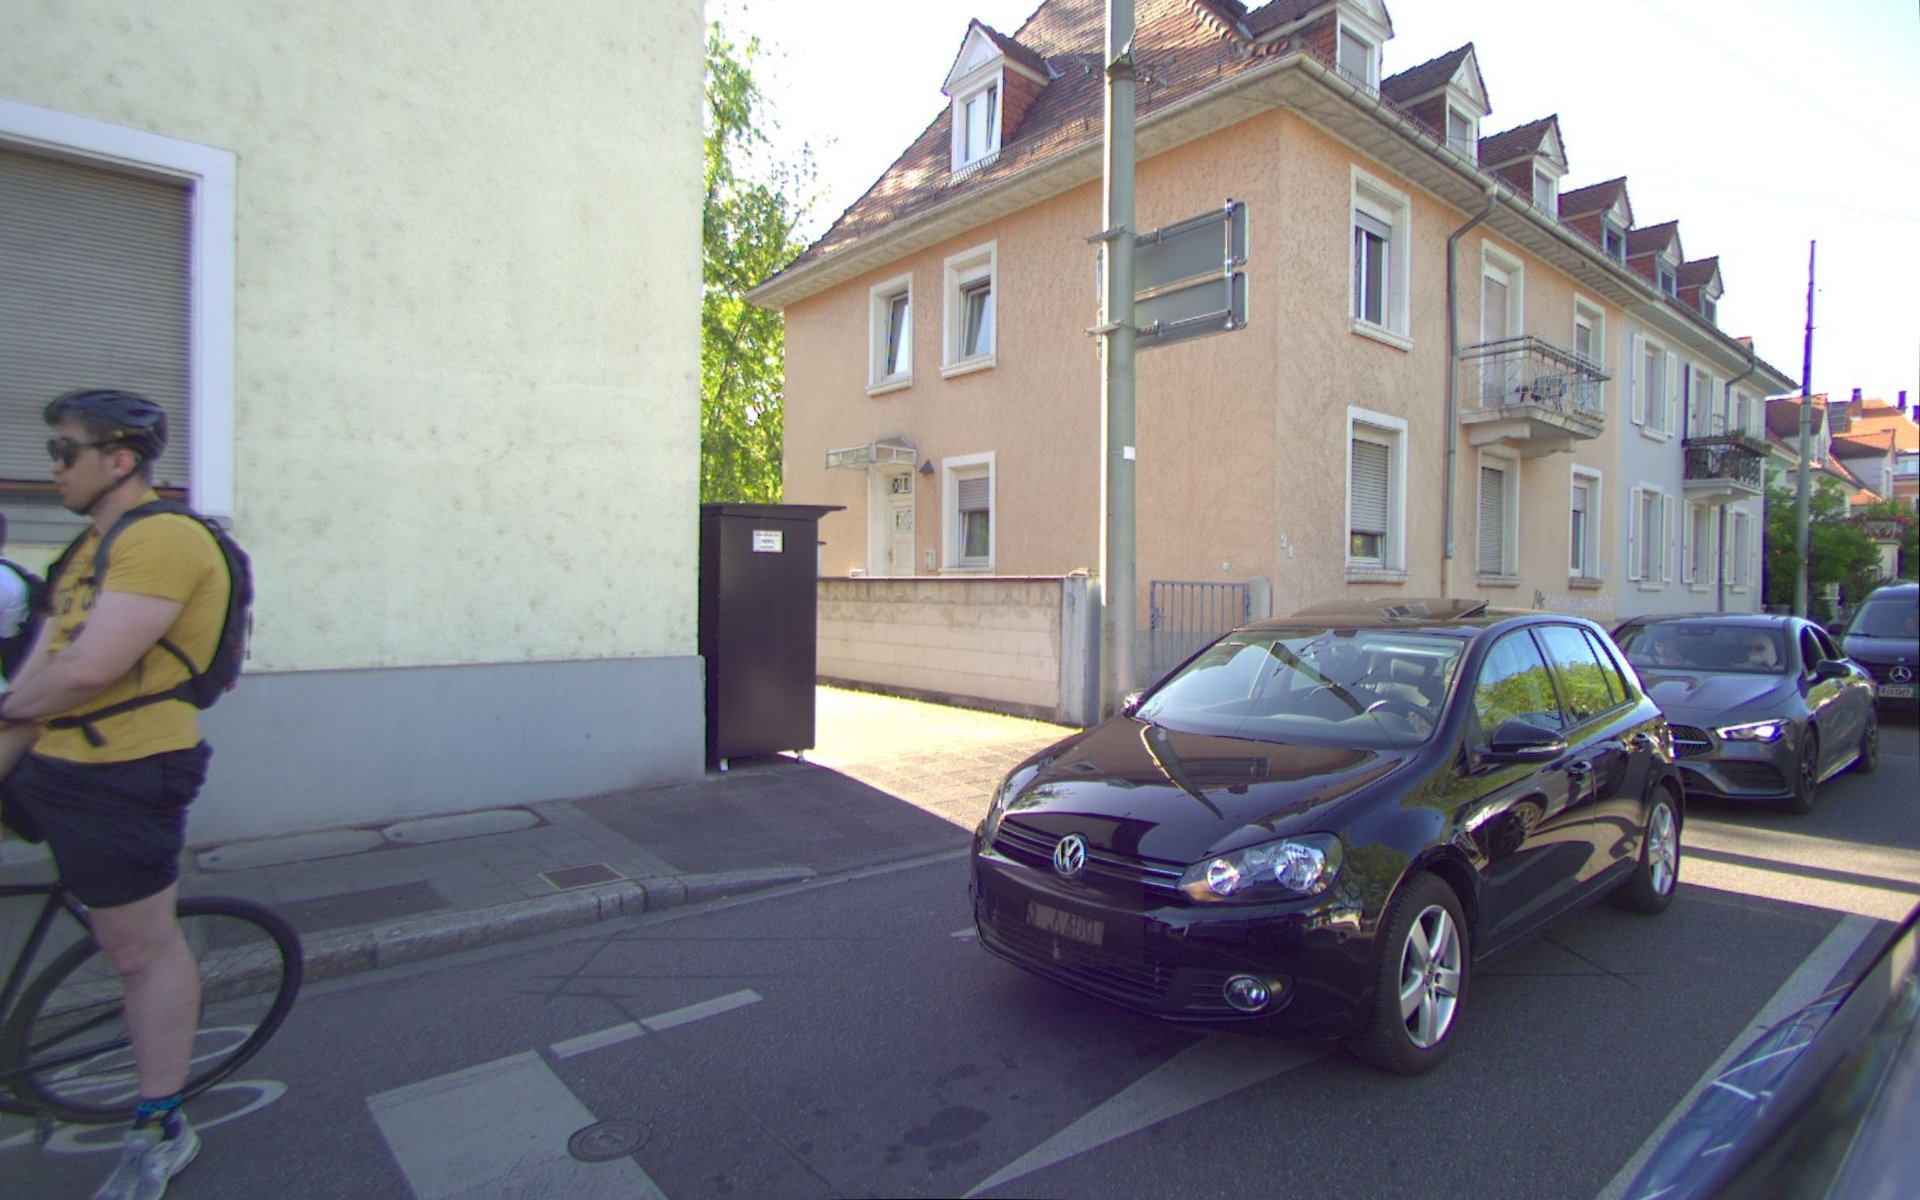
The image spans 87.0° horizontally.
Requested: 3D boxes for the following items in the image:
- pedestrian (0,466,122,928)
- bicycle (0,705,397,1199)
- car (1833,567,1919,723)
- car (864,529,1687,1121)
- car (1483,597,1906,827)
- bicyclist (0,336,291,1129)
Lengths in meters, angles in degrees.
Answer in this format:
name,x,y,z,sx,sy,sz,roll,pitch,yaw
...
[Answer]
name,x,y,z,sx,sy,sz,roll,pitch,yaw
pedestrian,-3.921,0.353,4.067,0.577,1.776,0.641,4,4,11
bicycle,-2.384,0.867,2.383,1.749,1.044,0.756,-1,0,-40
car,13.111,0.500,13.273,4.695,1.827,1.864,-1,0,-41
car,1.701,0.624,4.593,3.979,1.527,1.731,2,-1,-41
car,6.424,0.714,8.655,4.413,1.437,1.911,-1,0,-40
bicyclist,-2.233,0.277,2.514,0.868,1.684,0.807,0,0,-40
